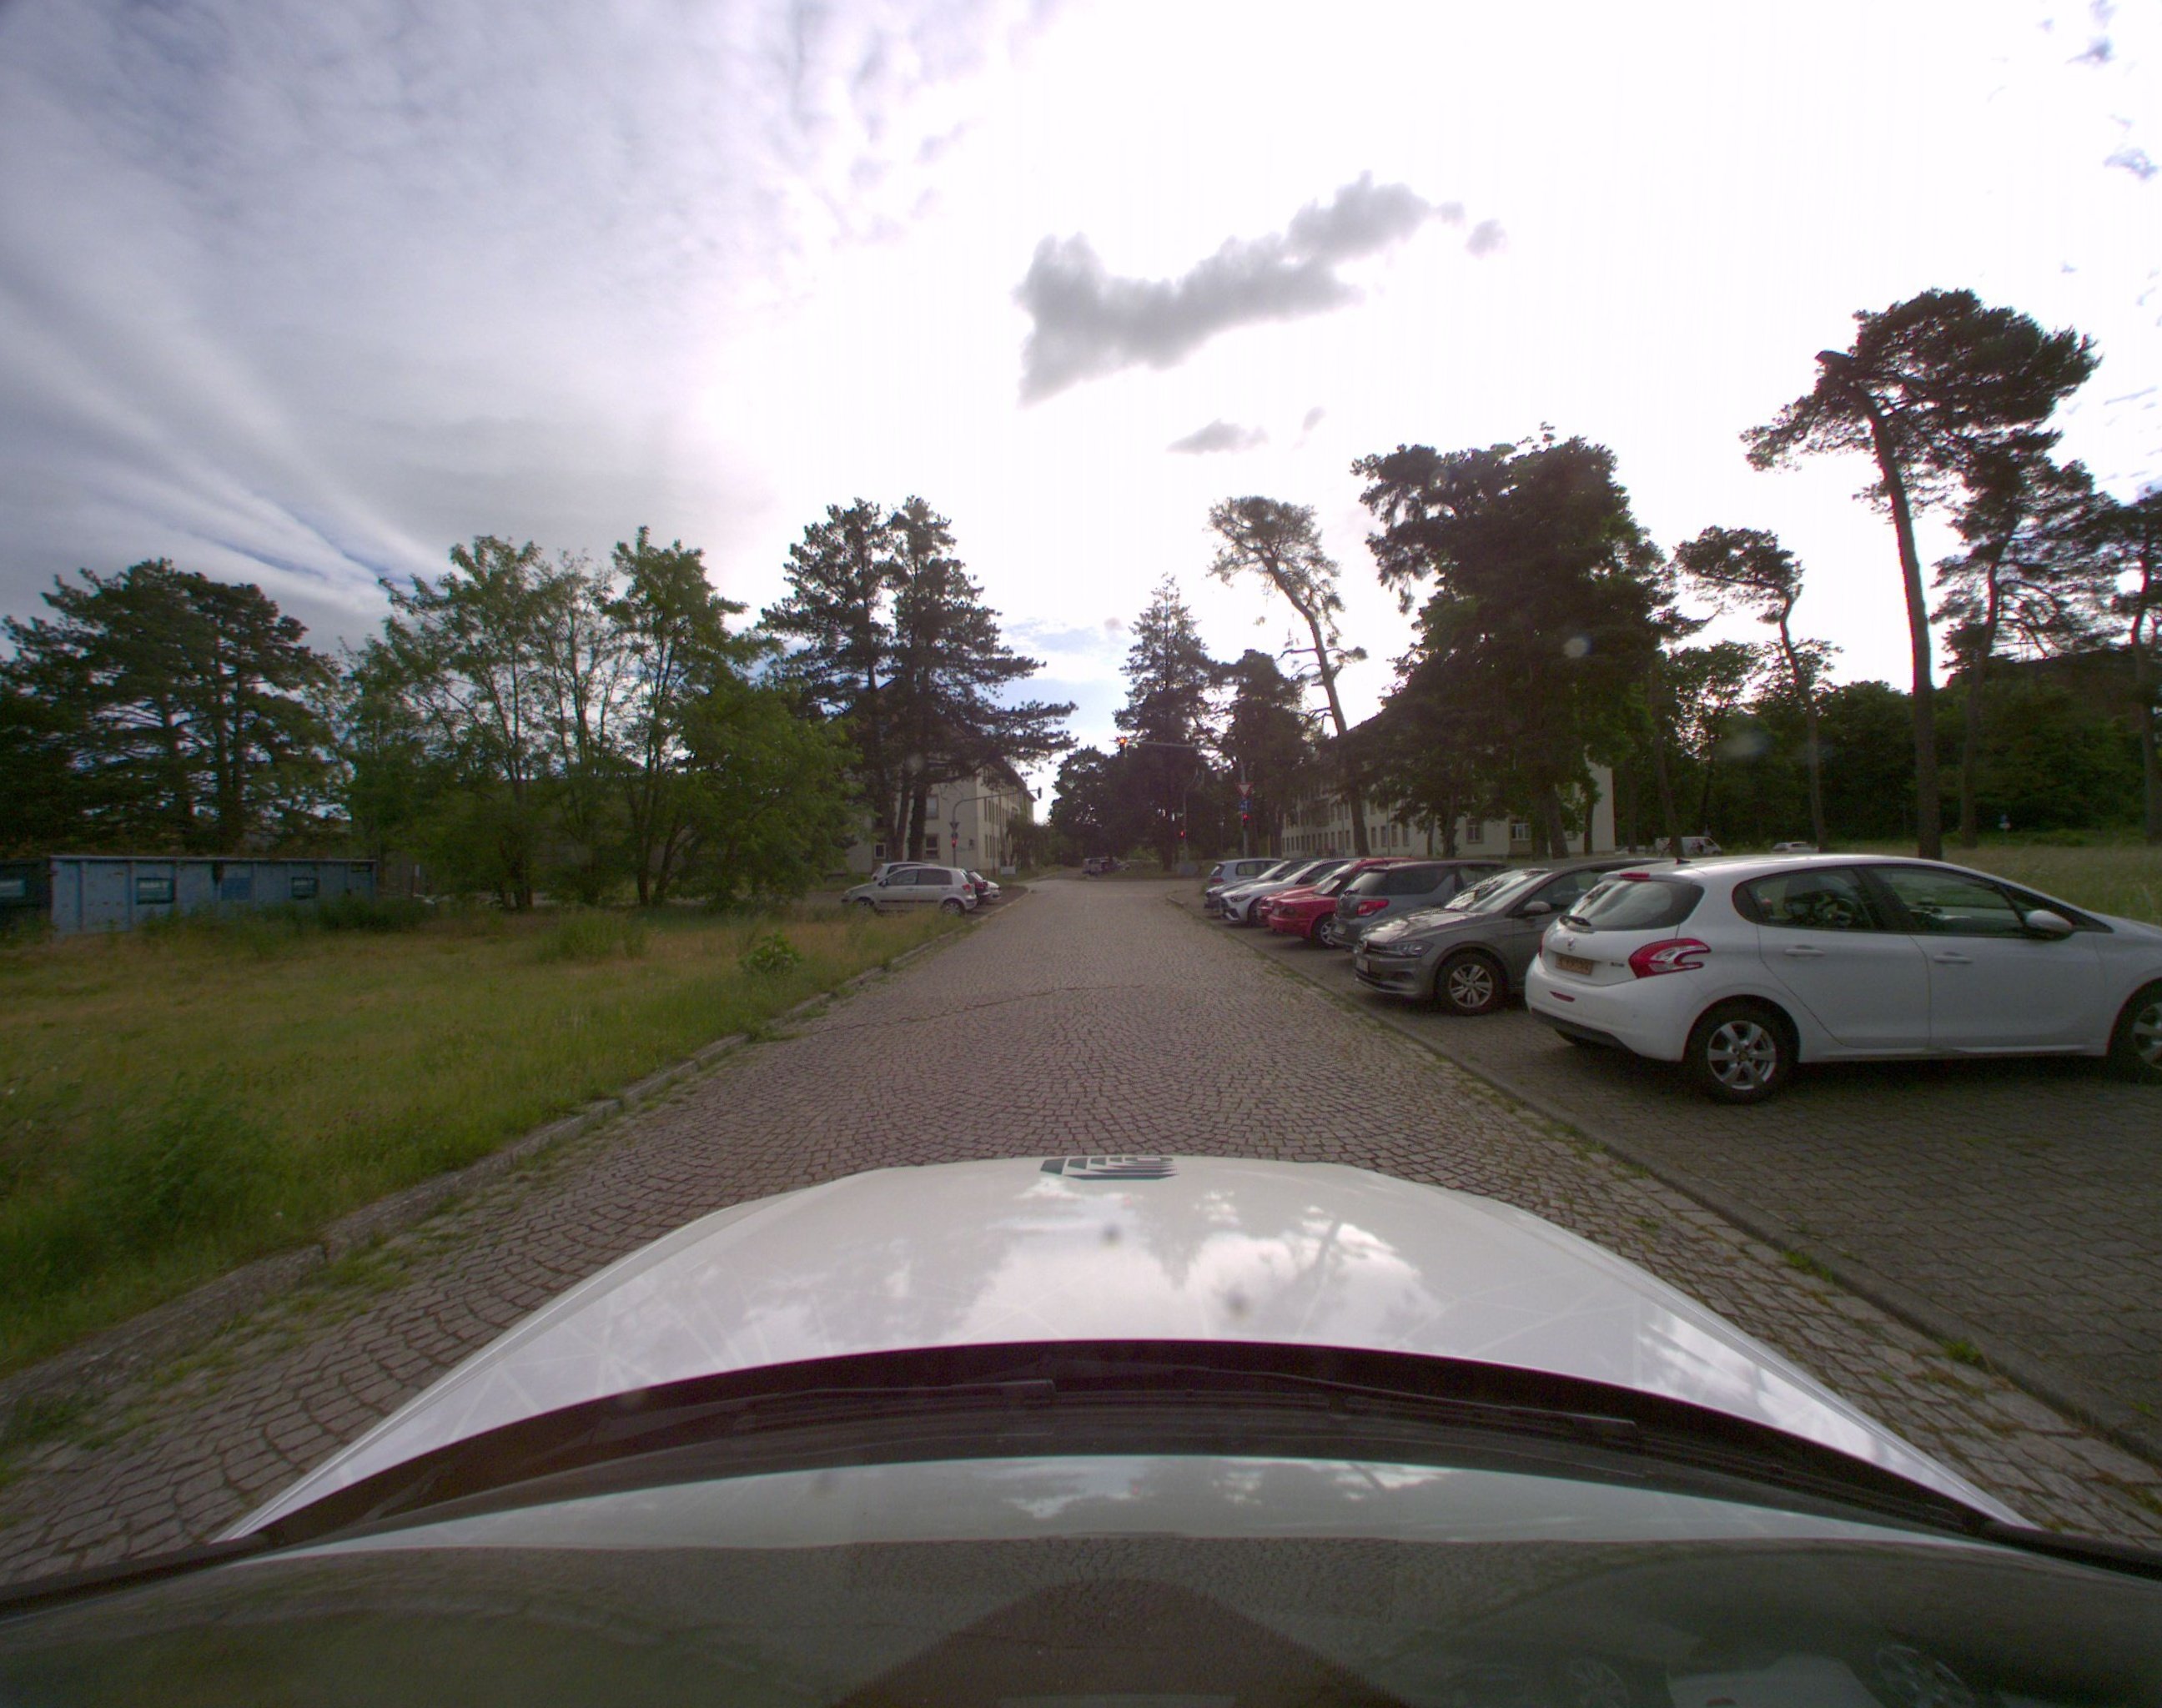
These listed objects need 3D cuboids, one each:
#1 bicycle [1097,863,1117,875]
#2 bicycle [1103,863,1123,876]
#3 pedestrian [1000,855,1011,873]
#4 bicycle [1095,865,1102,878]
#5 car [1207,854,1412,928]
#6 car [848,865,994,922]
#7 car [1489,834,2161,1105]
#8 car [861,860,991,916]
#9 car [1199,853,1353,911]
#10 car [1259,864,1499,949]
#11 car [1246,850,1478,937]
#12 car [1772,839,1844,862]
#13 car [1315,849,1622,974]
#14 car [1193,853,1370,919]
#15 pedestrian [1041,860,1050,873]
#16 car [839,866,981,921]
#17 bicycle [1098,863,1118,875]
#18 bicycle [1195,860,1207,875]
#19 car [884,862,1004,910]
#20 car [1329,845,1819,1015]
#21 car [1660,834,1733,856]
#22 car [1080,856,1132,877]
[{"bbox_3d":[2.537,1.478,79.828,1.878,1.171,0.664,0,-1,-5],"label":"bicycle"},{"bbox_3d":[2.985,1.432,76.329,1.878,1.171,0.664,0,-1,-5],"label":"bicycle"},{"bbox_3d":[-8.210,1.129,88.882,1.070,1.959,1.121,0,-1,1],"label":"pedestrian"},{"bbox_3d":[1.555,1.528,71.699,0.660,1.171,1.888,0,-1,1],"label":"bicycle"},{"bbox_3d":[5.220,0.818,18.888,4.181,1.437,1.751,-3,0,-7],"label":"car"},{"bbox_3d":[-4.996,1.212,25.906,4.292,1.554,1.808,-3,0,-6],"label":"car"},{"bbox_3d":[5.177,0.693,5.786,3.641,1.479,1.765,-3,0,0],"label":"car"},{"bbox_3d":[-5.386,1.171,28.713,4.291,1.732,1.650,-3,-1,-5],"label":"car"},{"bbox_3d":[5.727,0.814,24.207,4.128,1.463,1.631,-3,0,-5],"label":"car"},{"bbox_3d":[5.057,0.872,14.183,3.573,1.223,1.629,-3,0,2],"label":"car"},{"bbox_3d":[5.591,0.765,16.525,4.093,1.476,1.684,-3,0,-1],"label":"car"},{"bbox_3d":[59.206,-0.248,66.376,4.116,1.804,1.901,0,-1,2],"label":"car"},{"bbox_3d":[5.336,0.756,11.557,3.494,1.487,1.743,-3,0,0],"label":"car"},{"bbox_3d":[5.283,0.816,21.655,4.229,1.479,1.703,-3,0,-10],"label":"car"},{"bbox_3d":[-5.281,1.890,120.647,1.237,1.959,1.119,0,-1,-5],"label":"pedestrian"},{"bbox_3d":[-4.812,1.111,23.309,3.711,1.481,1.672,0,-1,-2],"label":"car"},{"bbox_3d":[2.636,1.466,78.875,1.878,1.171,0.664,0,-1,-5],"label":"bicycle"},{"bbox_3d":[9.008,1.015,61.044,0.660,1.051,1.888,0,0,1],"label":"bicycle"},{"bbox_3d":[-5.159,1.190,31.166,4.292,1.554,1.808,-3,0,-6],"label":"car"},{"bbox_3d":[4.988,0.735,8.691,4.116,1.447,1.766,-3,0,1],"label":"car"},{"bbox_3d":[58.203,-0.805,77.121,5.281,2.020,2.106,0,-1,1],"label":"car"},{"bbox_3d":[2.788,1.387,91.137,5.380,2.101,2.170,-2,-1,-12],"label":"car"}]
